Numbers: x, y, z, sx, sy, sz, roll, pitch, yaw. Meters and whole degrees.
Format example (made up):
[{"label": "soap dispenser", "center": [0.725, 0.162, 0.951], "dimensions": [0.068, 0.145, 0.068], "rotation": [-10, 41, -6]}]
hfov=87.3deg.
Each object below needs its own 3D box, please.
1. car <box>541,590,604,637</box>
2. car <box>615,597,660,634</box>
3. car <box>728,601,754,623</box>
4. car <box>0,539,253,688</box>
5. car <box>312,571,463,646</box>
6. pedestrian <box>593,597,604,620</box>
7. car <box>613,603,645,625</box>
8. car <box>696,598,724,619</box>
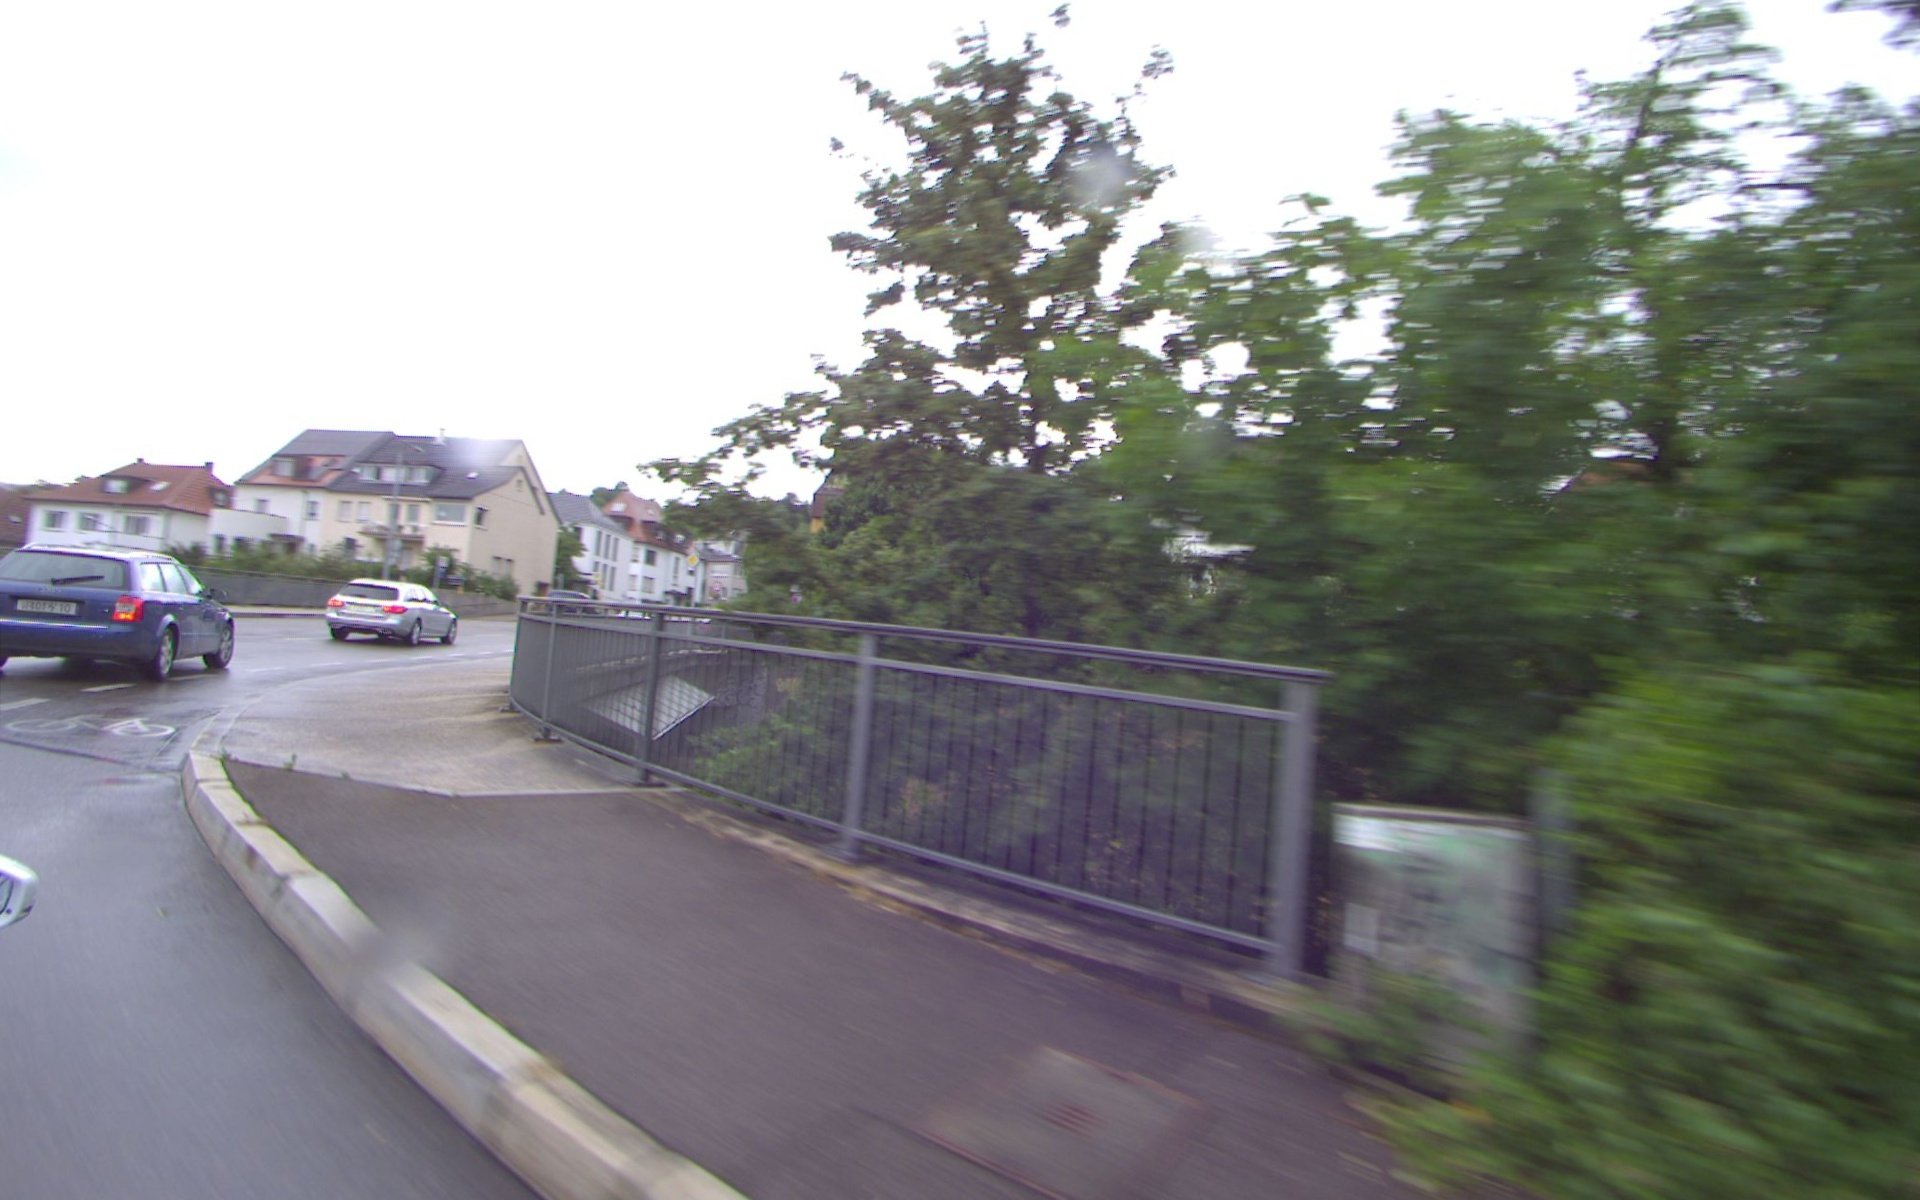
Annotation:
[{"label": "car", "center": [-16.236, 0.552, 42.270], "dimensions": [1.800, 1.635, 3.778], "rotation": [9, -3, -14]}, {"label": "car", "center": [-18.139, 0.892, 56.683], "dimensions": [1.799, 1.750, 3.779], "rotation": [8, -3, -12]}, {"label": "car", "center": [-25.398, 1.418, 116.949], "dimensions": [1.963, 2.036, 4.003], "rotation": [8, -3, 0]}, {"label": "car", "center": [-10.299, 0.161, 12.268], "dimensions": [1.729, 1.423, 3.984], "rotation": [7, -3, -22]}, {"label": "car", "center": [-13.700, 0.259, 24.350], "dimensions": [1.866, 1.404, 3.996], "rotation": [8, -4, -12]}, {"label": "pedestrian", "center": [-28.140, 0.648, 78.361], "dimensions": [0.649, 1.714, 0.579], "rotation": [3, 2, -15]}, {"label": "car", "center": [-29.735, 1.256, 90.424], "dimensions": [1.965, 1.728, 3.999], "rotation": [5, -3, -8]}, {"label": "car", "center": [-29.074, 0.976, 117.148], "dimensions": [1.963, 2.036, 4.003], "rotation": [8, -3, 0]}]
